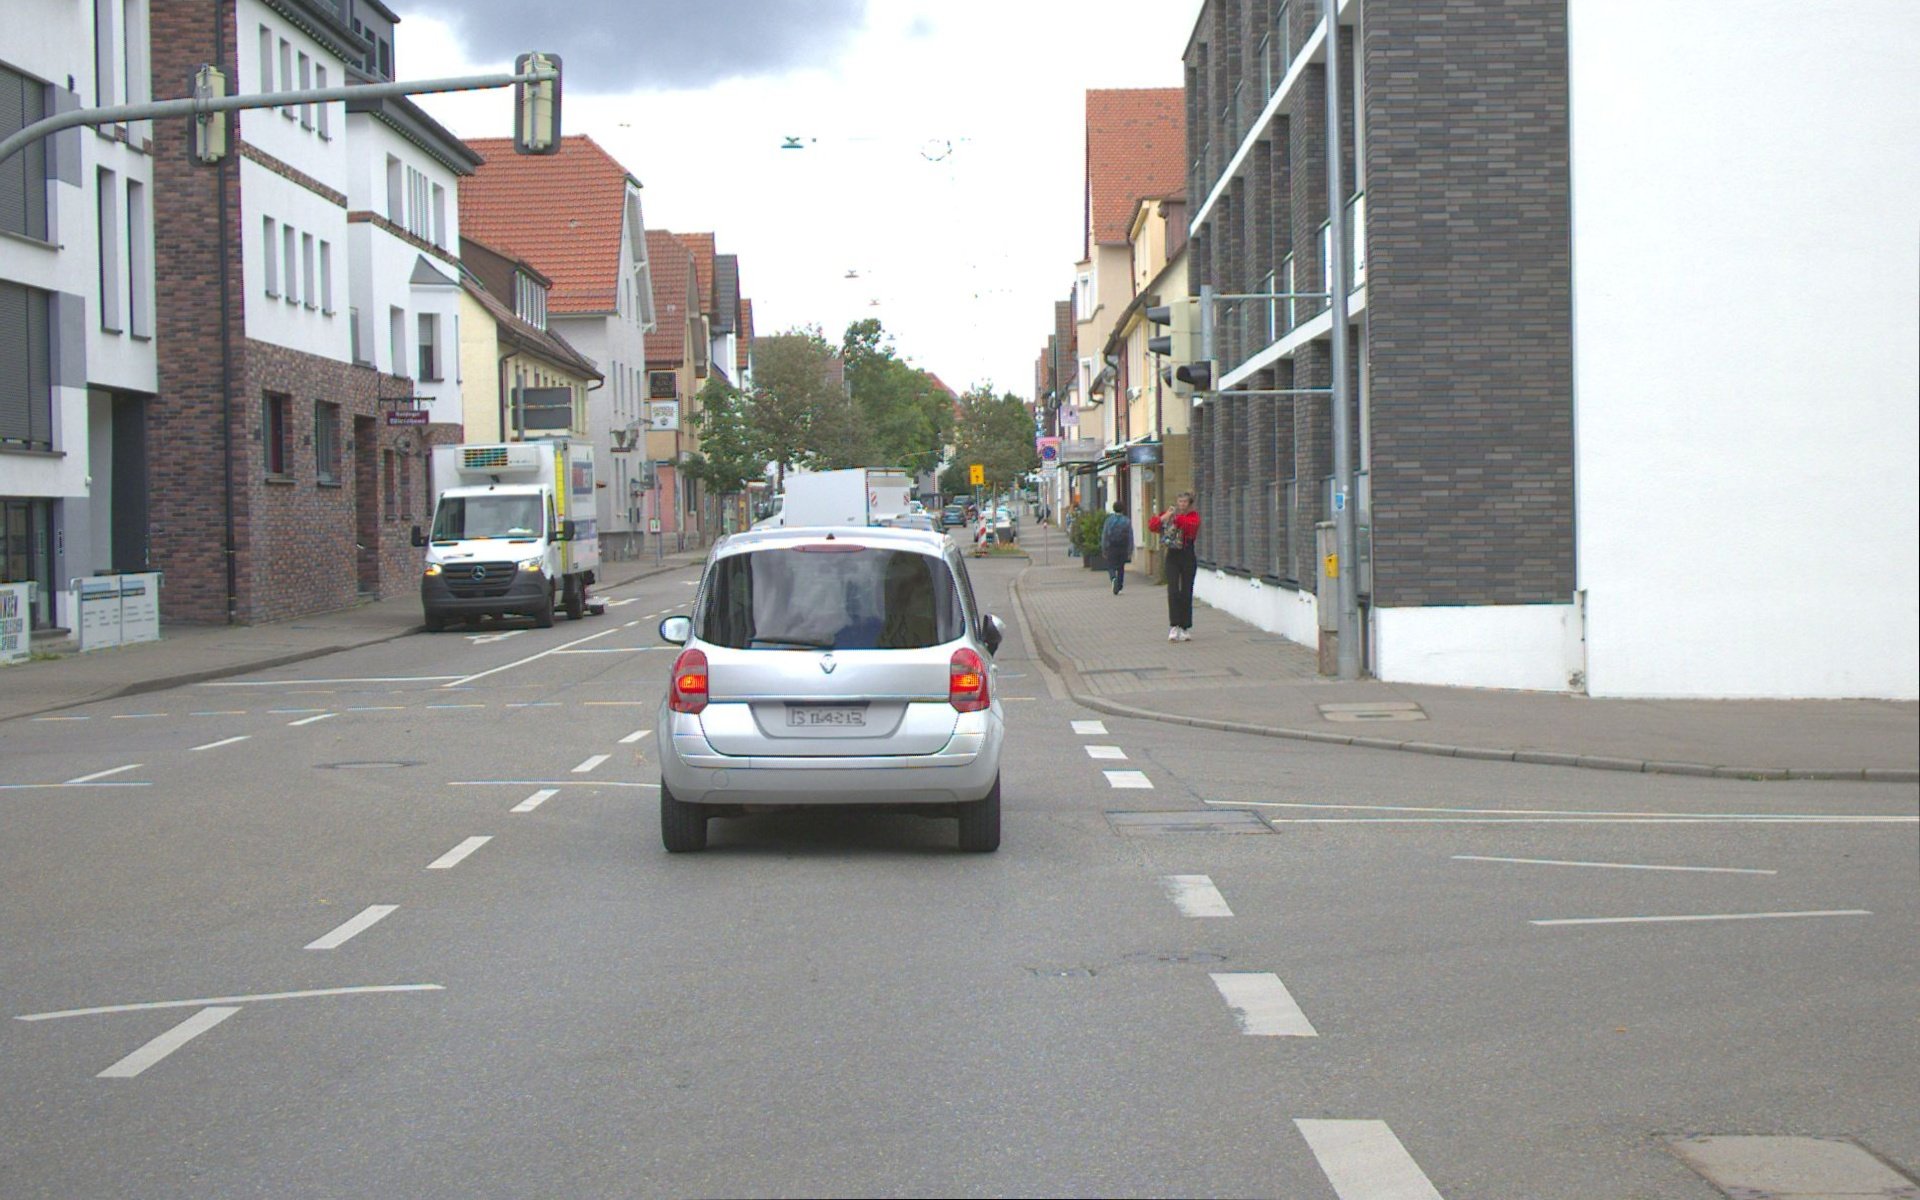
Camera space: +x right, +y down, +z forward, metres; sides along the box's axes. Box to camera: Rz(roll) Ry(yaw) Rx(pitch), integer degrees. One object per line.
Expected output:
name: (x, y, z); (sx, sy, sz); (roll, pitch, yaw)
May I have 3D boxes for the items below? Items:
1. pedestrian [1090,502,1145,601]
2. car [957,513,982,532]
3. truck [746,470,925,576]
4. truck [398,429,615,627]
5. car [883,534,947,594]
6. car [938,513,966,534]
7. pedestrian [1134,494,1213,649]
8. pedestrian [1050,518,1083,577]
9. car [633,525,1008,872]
pedestrian: (2.895, -0.900, 63.348); (0.889, 1.780, 0.785); (-3, 1, 1)
car: (0.737, -5.871, 260.919); (1.813, 1.349, 4.000); (-1, 1, 1)
truck: (-4.676, -2.850, 127.958); (6.843, 3.844, 2.597); (1, 1, 44)
truck: (-7.337, -1.184, 56.646); (2.435, 2.943, 8.365); (-2, 1, 0)
car: (-1.235, -1.009, 94.884); (1.706, 1.573, 4.000); (1, 1, 0)
car: (-0.545, -5.113, 229.310); (1.813, 1.349, 4.000); (-1, 1, 1)
pedestrian: (2.527, -0.342, 40.781); (0.807, 1.780, 0.861); (-3, 1, 1)
pedestrian: (3.314, -1.641, 107.025); (0.889, 1.780, 0.785); (-3, 1, 1)
car: (-0.663, 0.419, 17.981); (1.706, 1.573, 4.000); (1, 1, 0)
